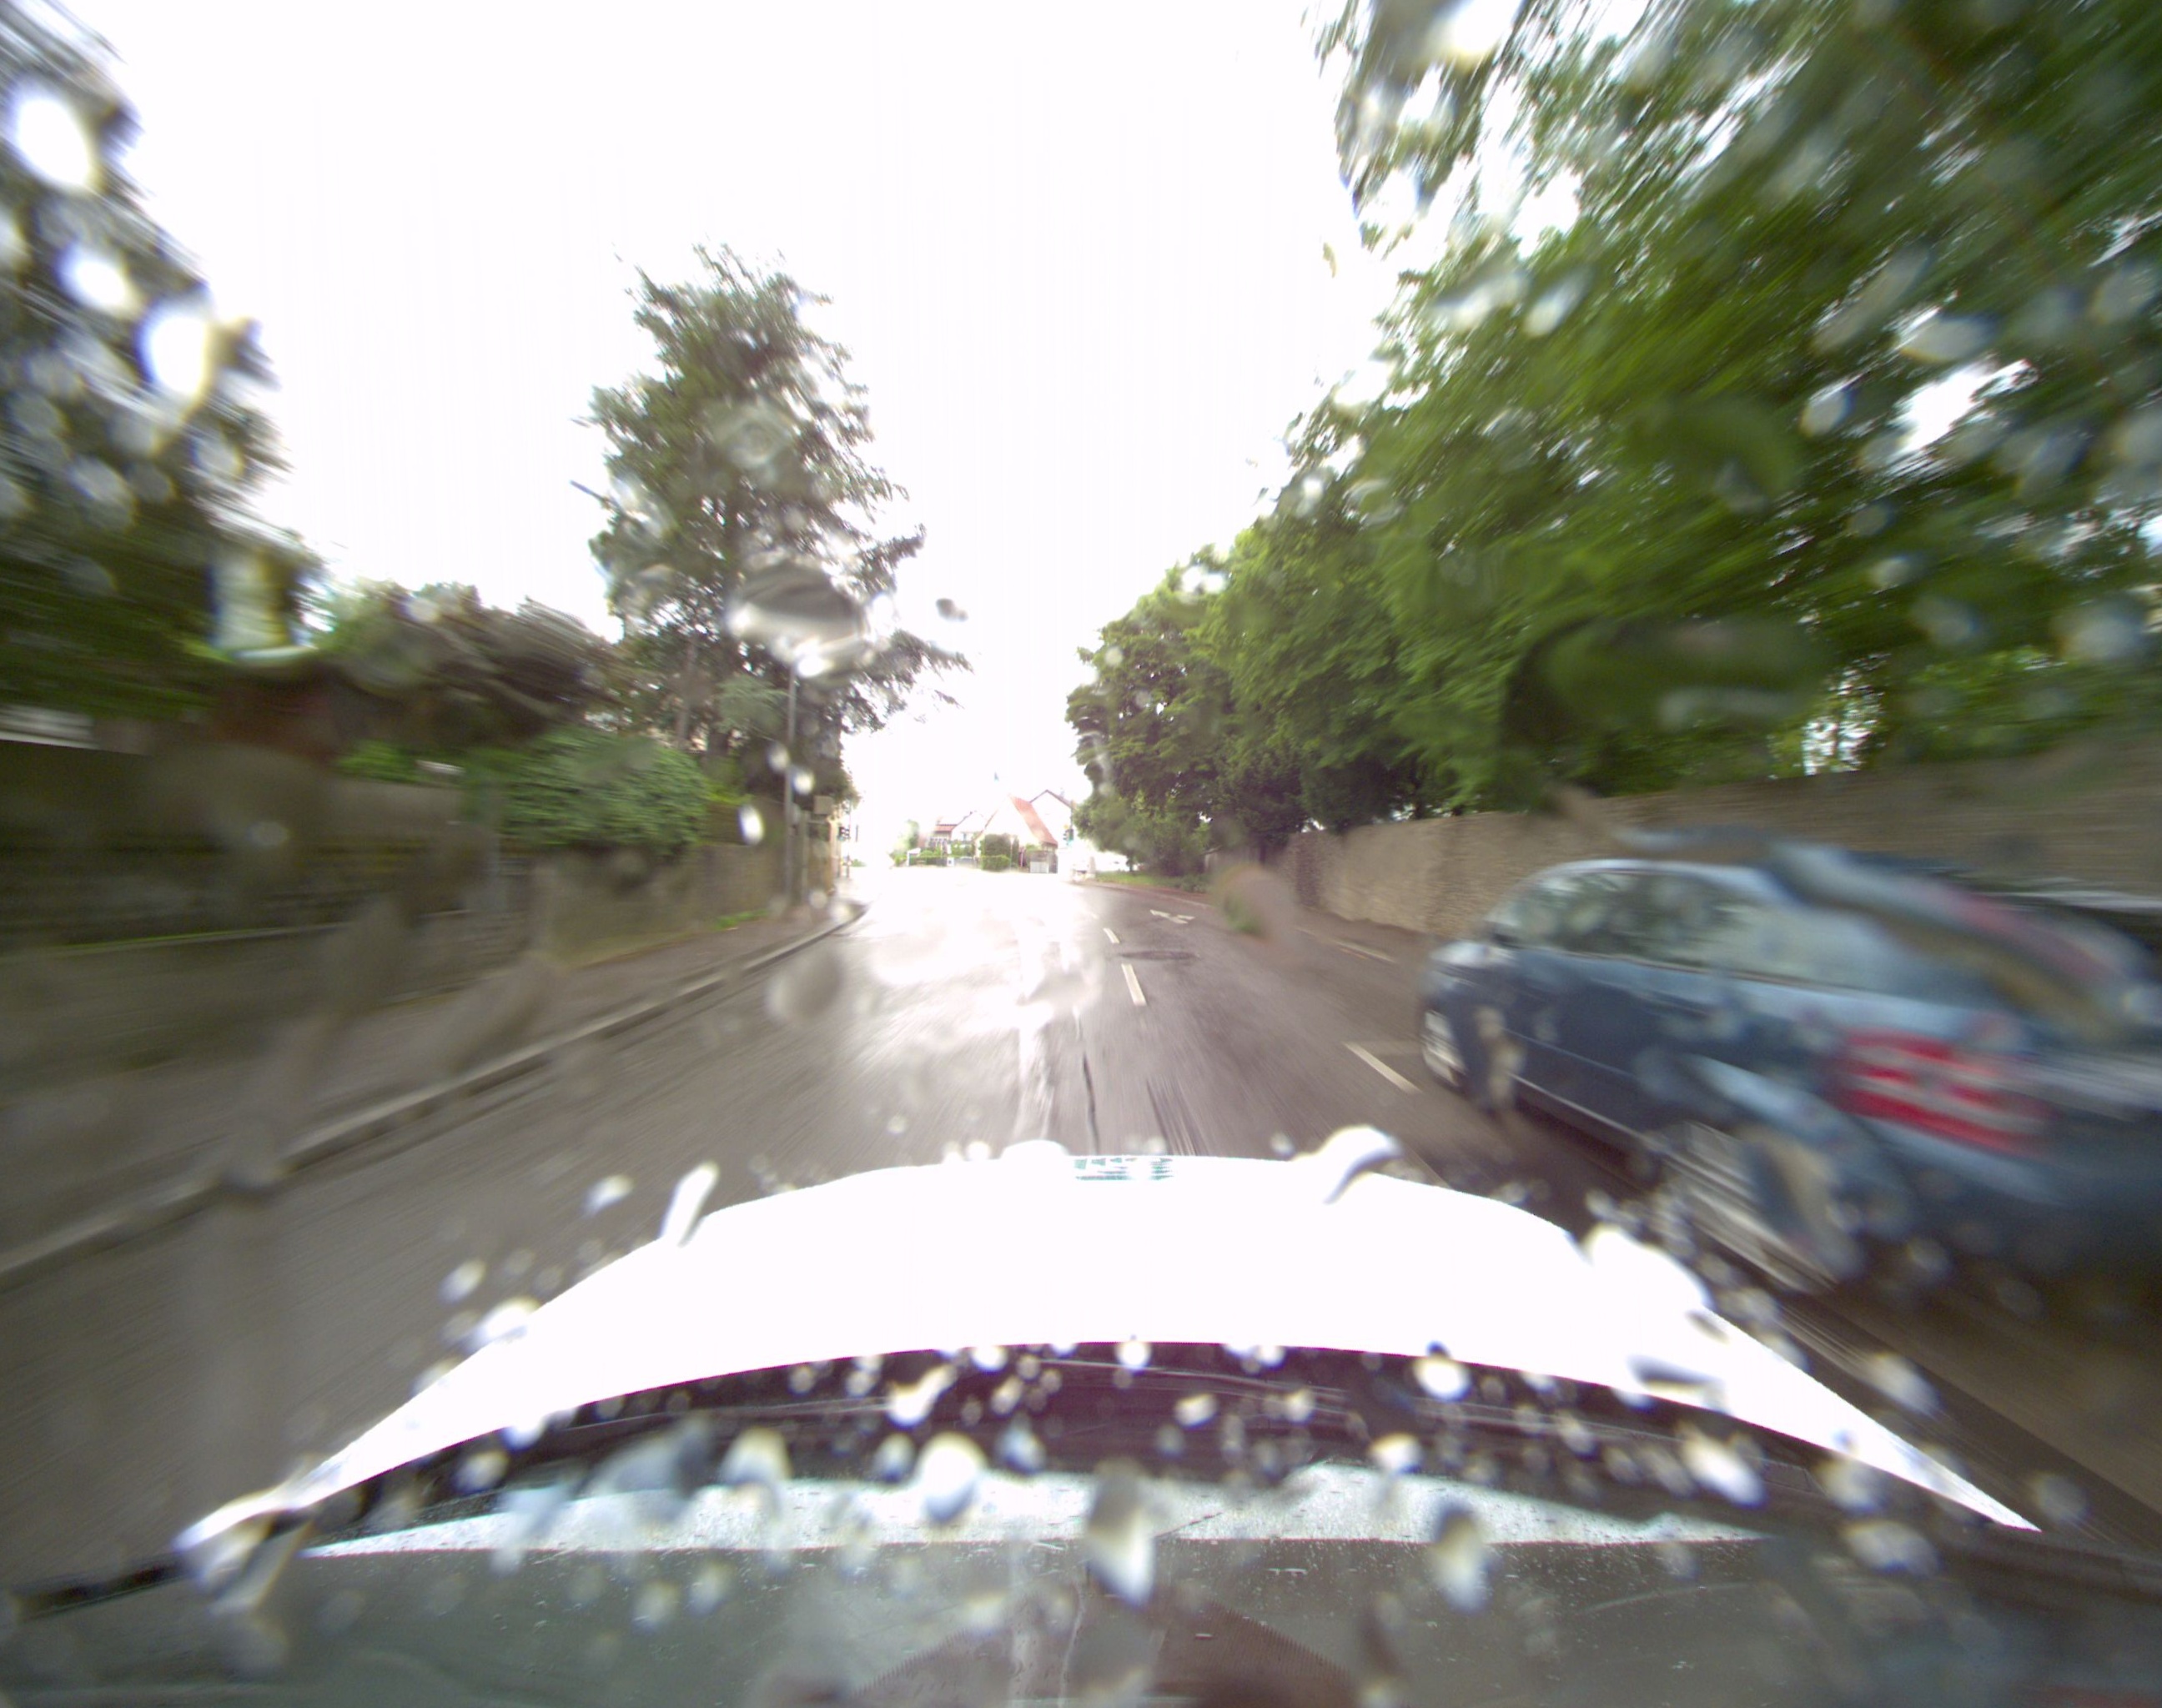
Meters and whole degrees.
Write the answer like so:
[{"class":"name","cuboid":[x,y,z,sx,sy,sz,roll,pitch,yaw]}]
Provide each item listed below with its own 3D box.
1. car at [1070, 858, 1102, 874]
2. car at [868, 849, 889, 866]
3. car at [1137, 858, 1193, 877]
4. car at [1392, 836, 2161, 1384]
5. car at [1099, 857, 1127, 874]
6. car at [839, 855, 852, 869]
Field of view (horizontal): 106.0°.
[{"class":"car","cuboid":[0.520,1.120,77.802,1.978,1.398,4.169,0,0,17]},{"class":"car","cuboid":[-21.049,0.372,84.647,1.998,1.706,3.978,0,0,-16]},{"class":"car","cuboid":[6.660,1.064,64.626,4.166,1.442,1.831,1,-1,-4]},{"class":"car","cuboid":[3.196,0.714,4.190,1.783,1.533,3.801,-1,0,1]},{"class":"car","cuboid":[3.041,1.067,77.408,1.980,1.530,4.014,0,0,12]},{"class":"car","cuboid":[-45.781,1.584,158.406,2.098,2.650,5.885,3,-3,-16]}]
